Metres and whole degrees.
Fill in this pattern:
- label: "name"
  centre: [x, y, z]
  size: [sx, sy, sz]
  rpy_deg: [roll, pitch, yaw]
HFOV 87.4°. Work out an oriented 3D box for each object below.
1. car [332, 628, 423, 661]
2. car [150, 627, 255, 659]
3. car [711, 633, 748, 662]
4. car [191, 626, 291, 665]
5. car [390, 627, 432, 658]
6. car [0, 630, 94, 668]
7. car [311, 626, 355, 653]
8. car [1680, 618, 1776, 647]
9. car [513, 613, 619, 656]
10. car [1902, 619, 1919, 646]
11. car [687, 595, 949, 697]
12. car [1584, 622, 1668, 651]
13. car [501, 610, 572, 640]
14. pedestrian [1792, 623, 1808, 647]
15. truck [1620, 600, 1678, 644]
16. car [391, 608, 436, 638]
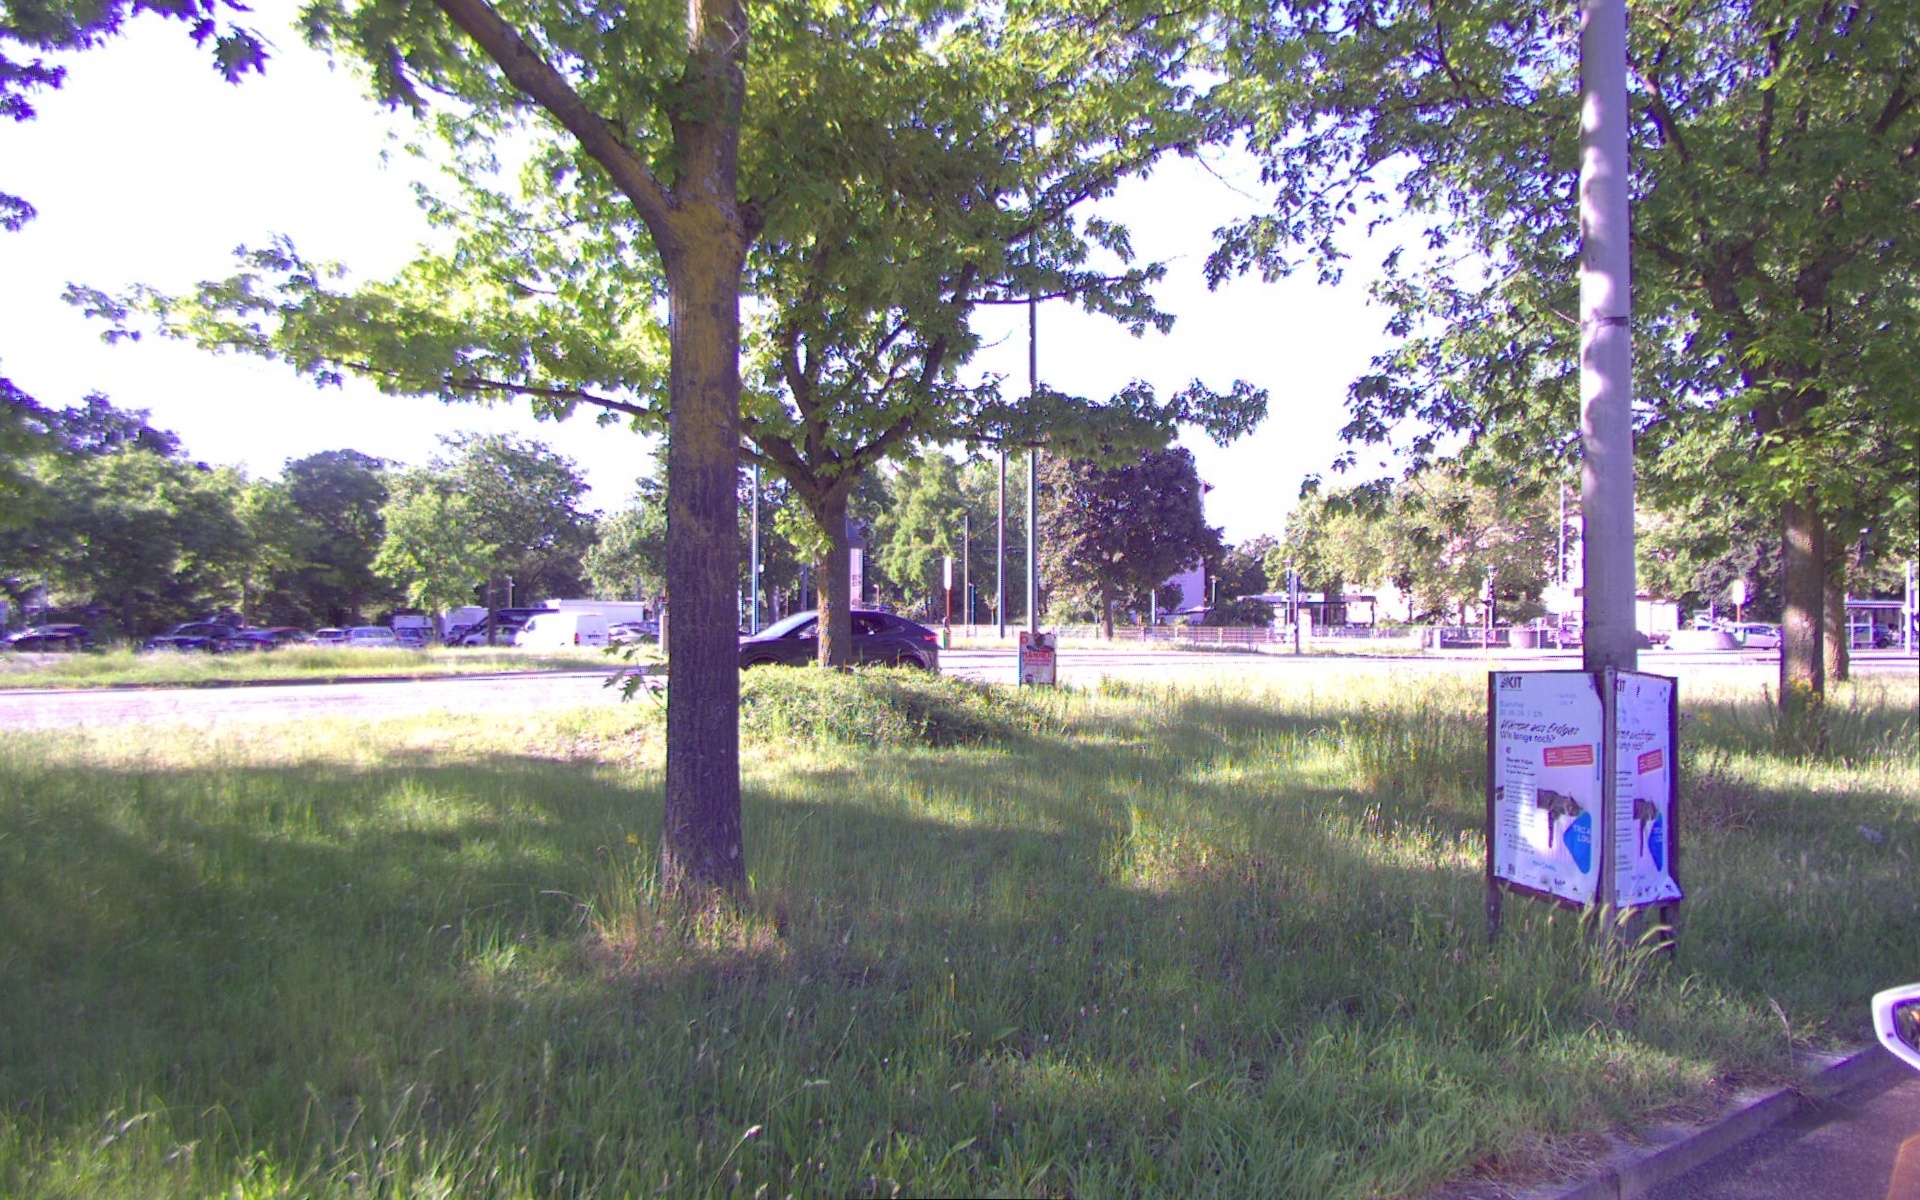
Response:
- label: "car"
  centre: [-21.817, 1.636, 37.638]
  size: [2.769, 1.171, 1.326]
  rpy_deg: [1, -1, -40]
- label: "car"
  centre: [-26.834, 1.506, 35.633]
  size: [1.315, 1.078, 2.777]
  rpy_deg: [-1, -1, 42]
- label: "car"
  centre: [-12.021, 2.455, 52.491]
  size: [1.589, 1.438, 3.073]
  rpy_deg: [0, -1, -8]
- label: "car"
  centre: [-25.224, 1.565, 35.248]
  size: [2.769, 1.323, 1.326]
  rpy_deg: [1, -1, -40]
- label: "car"
  centre: [-26.692, 2.031, 48.783]
  size: [1.602, 1.438, 3.050]
  rpy_deg: [1, -1, -33]
- label: "car"
  centre: [-47.649, 2.501, 51.910]
  size: [1.966, 1.817, 3.990]
  rpy_deg: [0, -1, 32]
- label: "car"
  centre: [-29.285, 1.827, 46.869]
  size: [1.603, 1.194, 3.047]
  rpy_deg: [1, -1, -35]
- label: "car"
  centre: [46.917, 1.961, 61.464]
  size: [4.233, 1.706, 2.001]
  rpy_deg: [0, -1, 9]
- label: "car"
  centre: [-17.209, 1.476, 43.804]
  size: [4.670, 1.762, 2.024]
  rpy_deg: [0, -1, 34]
- label: "car"
  centre: [71.945, 2.391, 73.398]
  size: [1.910, 2.040, 4.155]
  rpy_deg: [1, -1, -31]
- label: "car"
  centre: [-2.550, 0.793, 18.319]
  size: [4.407, 1.669, 1.818]
  rpy_deg: [1, -1, -30]
- label: "car"
  centre: [41.428, 2.246, 62.565]
  size: [3.919, 1.706, 2.001]
  rpy_deg: [0, -1, 9]
- label: "car"
  centre: [-24.120, 1.415, 57.293]
  size: [3.698, 1.691, 1.883]
  rpy_deg: [1, -1, -23]
- label: "pedestrian"
  centre: [49.396, 2.082, 59.085]
  size: [0.614, 1.409, 0.416]
  rpy_deg: [0, -1, -3]
- label: "truck"
  centre: [46.652, 1.474, 68.089]
  size: [1.960, 2.842, 4.002]
  rpy_deg: [0, -1, 15]
- label: "car"
  centre: [-32.478, 1.368, 59.791]
  size: [1.865, 1.691, 3.733]
  rpy_deg: [1, -1, -22]
